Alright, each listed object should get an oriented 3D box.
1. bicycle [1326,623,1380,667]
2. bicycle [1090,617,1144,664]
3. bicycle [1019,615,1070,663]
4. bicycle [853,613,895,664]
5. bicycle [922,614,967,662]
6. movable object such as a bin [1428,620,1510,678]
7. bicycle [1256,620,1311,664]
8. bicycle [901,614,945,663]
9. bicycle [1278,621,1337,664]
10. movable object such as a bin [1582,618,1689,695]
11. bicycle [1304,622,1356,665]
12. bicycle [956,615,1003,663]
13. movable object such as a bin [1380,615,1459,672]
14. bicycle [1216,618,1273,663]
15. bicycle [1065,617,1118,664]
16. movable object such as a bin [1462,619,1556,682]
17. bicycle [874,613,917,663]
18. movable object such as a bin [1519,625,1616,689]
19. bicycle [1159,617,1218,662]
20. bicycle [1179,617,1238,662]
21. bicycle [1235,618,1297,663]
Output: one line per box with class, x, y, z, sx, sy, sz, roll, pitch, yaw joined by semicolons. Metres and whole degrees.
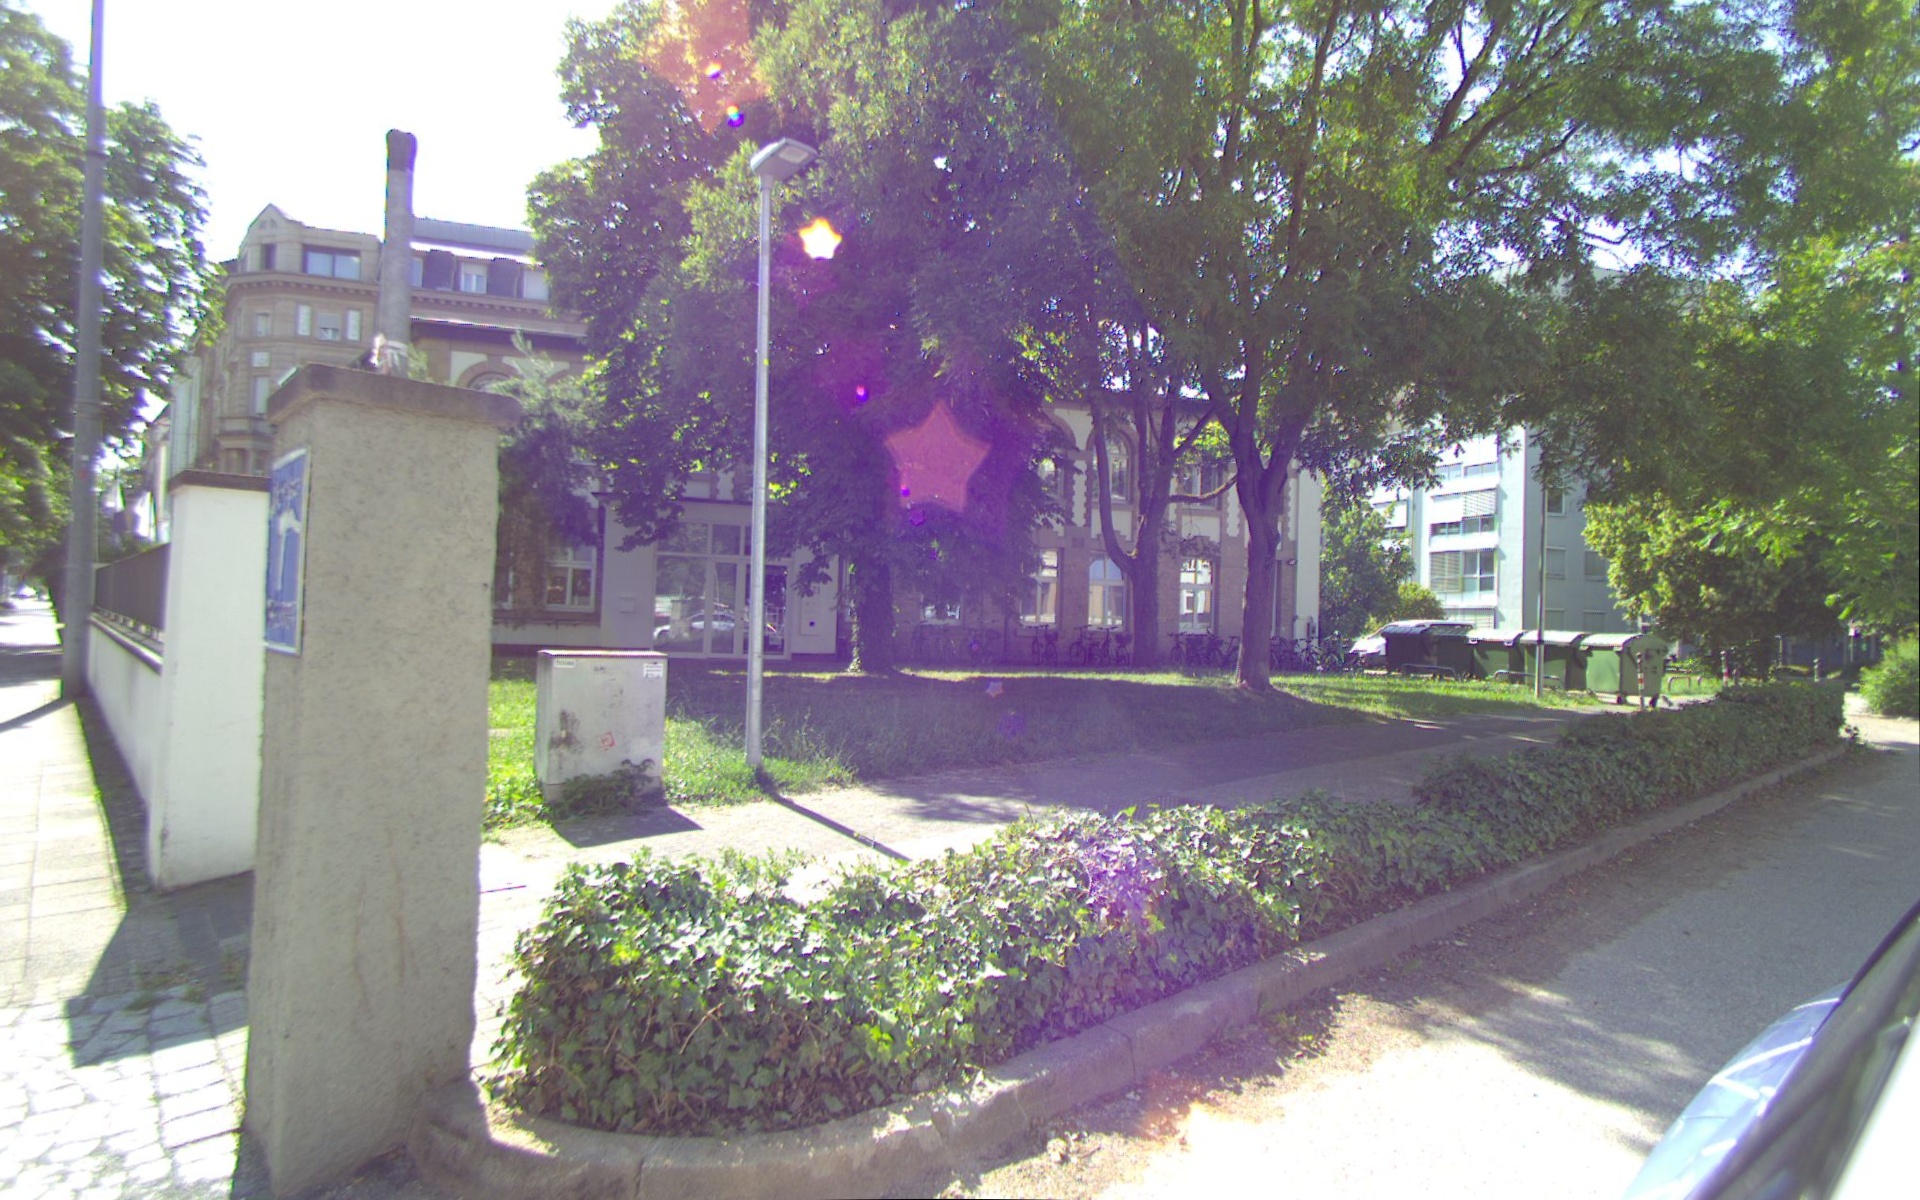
bicycle;11.220;1.276;28.962;0.546;1.176;1.947;1;-1;-7
bicycle;4.218;1.074;27.362;0.575;1.176;2.107;2;-1;-17
bicycle;2.215;1.014;26.759;0.575;1.176;2.107;2;-1;-17
bicycle;-2.143;0.929;25.007;0.575;1.176;2.107;2;-1;-17
bicycle;-0.413;0.962;26.119;0.575;1.176;2.107;2;-1;-17
movable object such as a bin;12.594;1.196;25.069;1.190;1.366;1.355;2;-1;-20
bicycle;9.151;1.160;28.704;0.484;1.176;1.918;2;-1;-17
bicycle;-0.961;0.957;25.823;0.575;1.176;2.107;2;-1;-17
bicycle;9.943;1.196;28.998;0.600;1.176;1.855;2;-1;-17
movable object such as a bin;13.783;1.126;20.710;1.191;1.481;1.393;1;-1;-5
bicycle;10.594;1.225;29.032;0.496;1.176;1.808;2;-1;-12
bicycle;0.478;0.994;26.322;0.575;1.176;2.107;2;-1;-17
movable object such as a bin;12.038;1.131;26.546;1.224;1.427;1.439;2;-1;-21
bicycle;7.928;1.115;28.281;0.575;1.176;1.925;2;-1;-17
bicycle;3.502;1.055;27.108;0.575;1.176;2.107;2;-1;-17
movable object such as a bin;12.750;1.156;23.535;1.190;1.379;1.505;2;-1;-20
bicycle;-1.656;0.945;25.616;0.575;1.176;2.107;2;-1;-17
movable object such as a bin;13.254;1.220;22.108;1.190;1.317;1.358;2;-1;-20
bicycle;6.260;1.067;27.832;0.575;1.176;2.107;2;-1;-17
bicycle;6.872;1.065;28.076;0.575;1.176;2.107;2;-1;-17
bicycle;8.608;1.127;28.562;0.575;1.176;2.107;2;-1;-17
